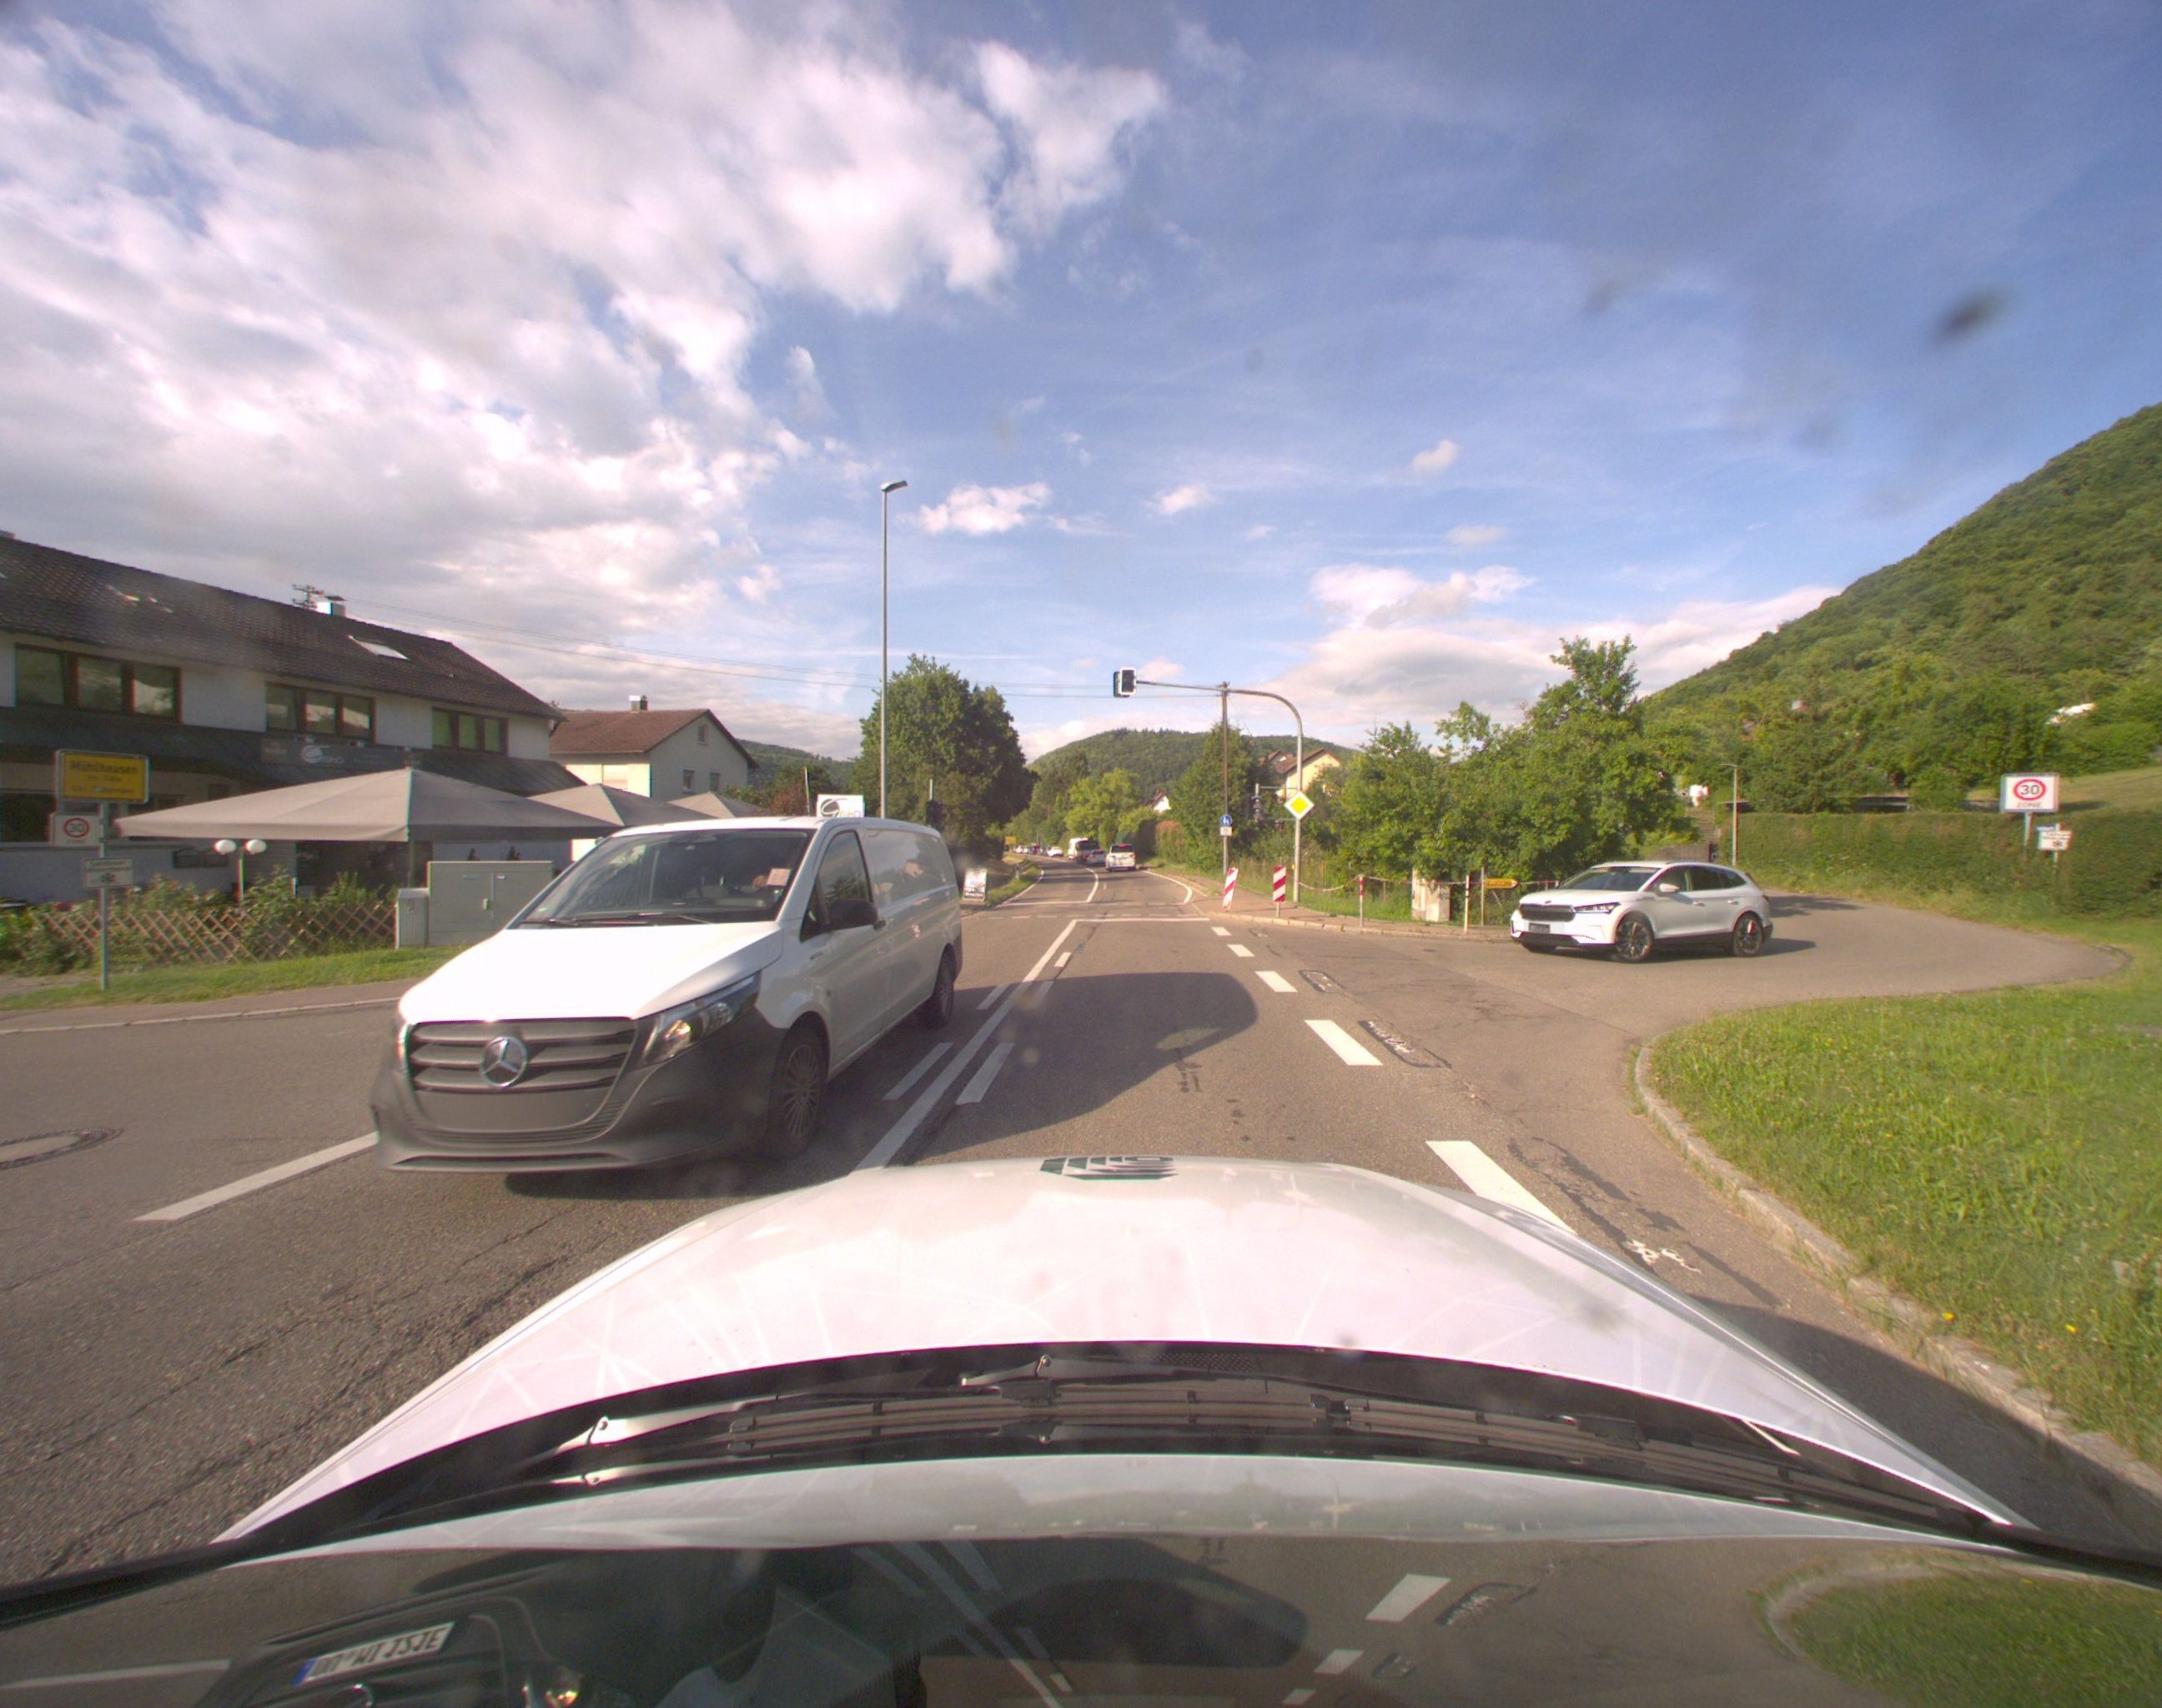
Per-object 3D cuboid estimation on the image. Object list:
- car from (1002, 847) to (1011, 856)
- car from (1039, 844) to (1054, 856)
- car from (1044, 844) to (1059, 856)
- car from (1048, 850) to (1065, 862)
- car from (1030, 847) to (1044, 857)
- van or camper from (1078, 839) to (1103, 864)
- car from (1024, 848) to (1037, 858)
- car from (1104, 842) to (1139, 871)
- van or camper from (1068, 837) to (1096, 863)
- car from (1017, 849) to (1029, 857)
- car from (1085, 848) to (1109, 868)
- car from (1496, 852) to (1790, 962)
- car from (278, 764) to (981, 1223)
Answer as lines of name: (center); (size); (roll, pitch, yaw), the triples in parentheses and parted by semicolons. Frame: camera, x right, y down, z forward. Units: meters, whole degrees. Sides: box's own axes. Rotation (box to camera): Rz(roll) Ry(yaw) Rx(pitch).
car: (-16.780, -0.575, 183.507); (1.772, 1.783, 3.986); (-2, 0, -10)
car: (-5.603, -0.651, 132.129); (1.994, 2.013, 3.985); (-1, 1, -11)
car: (-4.492, -0.684, 124.919); (1.795, 1.793, 3.988); (-1, 1, -9)
car: (-3.555, 0.302, 117.928); (1.820, 1.552, 3.986); (-2, 1, -10)
car: (-7.579, -0.294, 140.397); (2.041, 1.683, 3.987); (0, 1, -10)
van or camper: (0.925, -0.240, 81.010); (2.175, 2.385, 5.364); (-1, 0, -3)
car: (-9.333, -0.123, 149.055); (1.942, 1.684, 3.987); (-2, 0, -10)
car: (2.833, 0.133, 58.202); (1.989, 1.876, 4.865); (1, 1, -3)
van or camper: (0.073, -0.516, 95.866); (2.414, 2.904, 6.113); (-1, 0, -9)
car: (-11.292, -0.257, 158.136); (1.943, 1.424, 3.985); (-1, 1, -11)
car: (1.370, 0.315, 72.044); (1.987, 1.684, 3.999); (-1, 0, -1)
car: (9.427, 0.825, 13.657); (4.575, 1.610, 1.860); (1, 0, -22)
car: (-2.258, 0.572, 6.086); (1.985, 1.903, 5.259); (-2, 1, 4)
